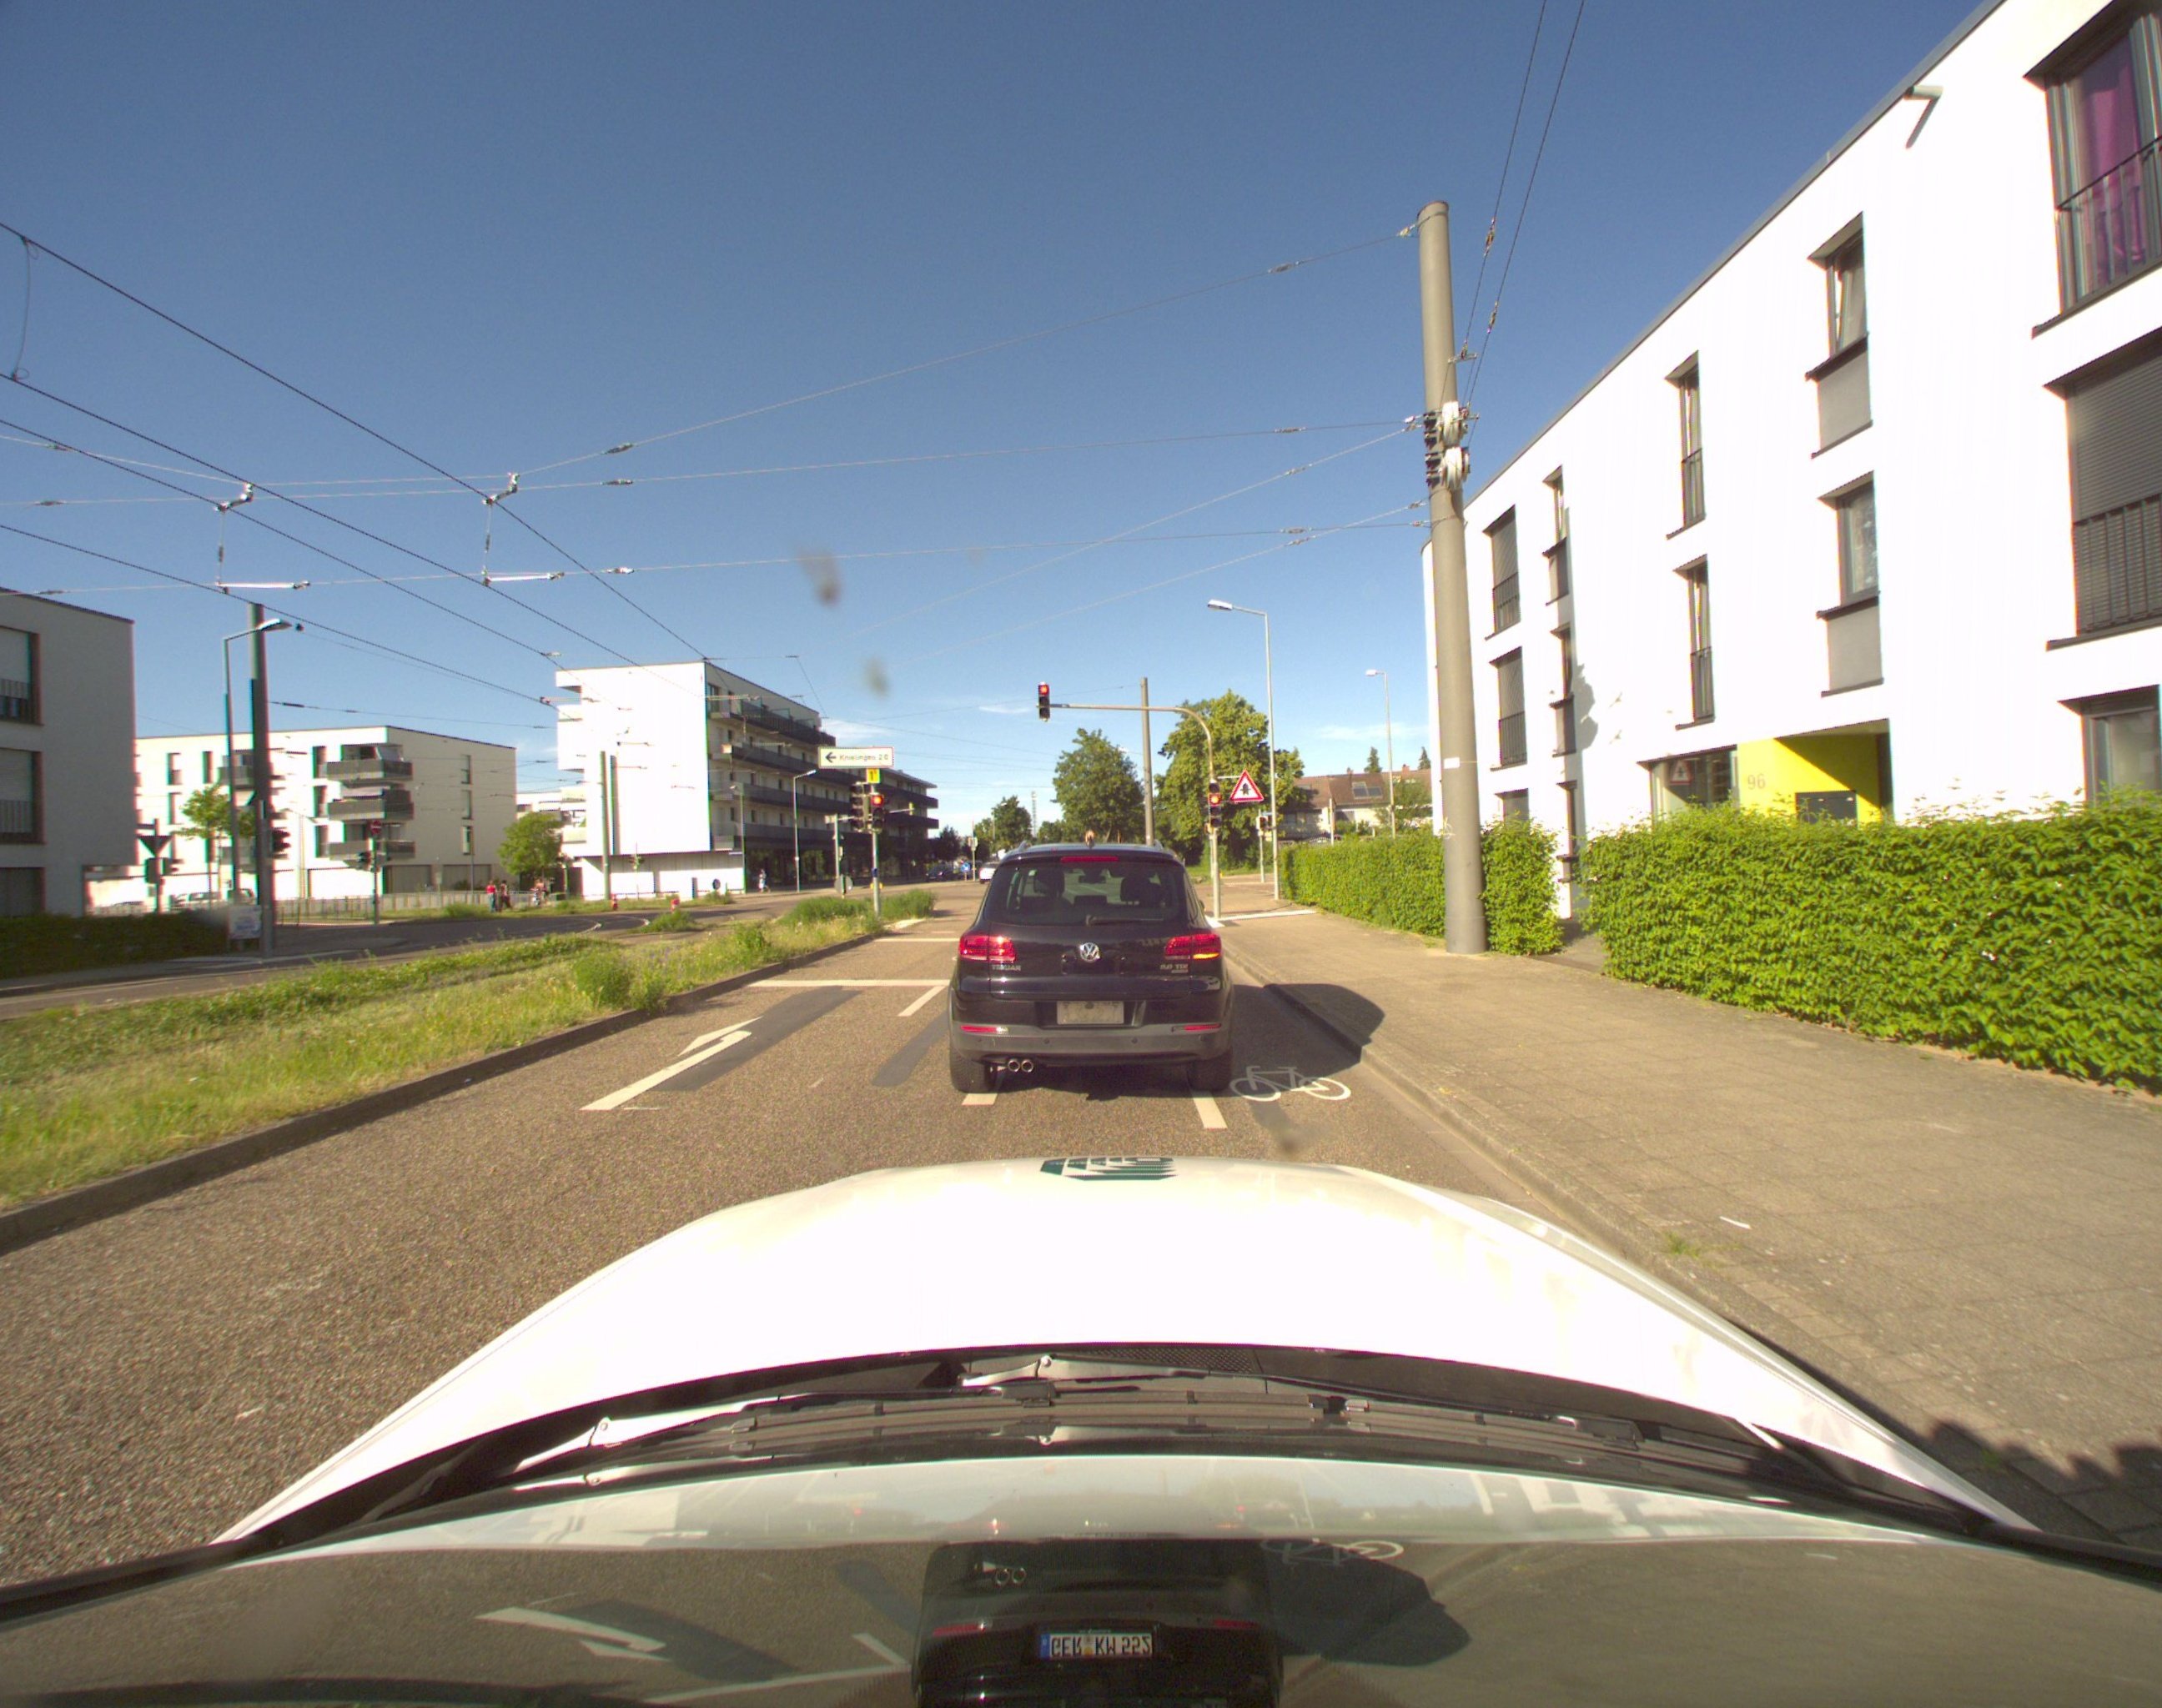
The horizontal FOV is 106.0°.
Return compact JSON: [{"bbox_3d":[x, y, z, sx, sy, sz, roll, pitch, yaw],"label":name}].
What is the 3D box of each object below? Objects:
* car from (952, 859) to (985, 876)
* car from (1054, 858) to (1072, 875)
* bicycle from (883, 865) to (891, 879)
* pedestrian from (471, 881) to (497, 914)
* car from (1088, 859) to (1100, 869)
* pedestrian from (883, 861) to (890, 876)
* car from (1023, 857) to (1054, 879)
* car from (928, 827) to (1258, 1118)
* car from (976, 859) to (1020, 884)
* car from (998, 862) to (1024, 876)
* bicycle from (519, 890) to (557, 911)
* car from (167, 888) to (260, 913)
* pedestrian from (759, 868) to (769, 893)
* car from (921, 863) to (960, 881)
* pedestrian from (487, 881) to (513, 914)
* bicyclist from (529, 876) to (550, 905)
[{"bbox_3d":[-11.020,1.294,80.308,1.981,1.574,4.350,-1,-1,9],"label":"car"},{"bbox_3d":[-2.102,1.426,94.303,1.988,1.836,3.998,0,-1,-1],"label":"car"},{"bbox_3d":[-19.954,1.849,83.659,0.630,1.332,1.907,0,-1,-8],"label":"bicycle"},{"bbox_3d":[-29.787,2.182,40.663,0.770,1.605,0.741,0,-1,-5],"label":"pedestrian"},{"bbox_3d":[2.180,1.725,136.446,1.987,1.684,4.000,0,-1,0],"label":"car"},{"bbox_3d":[-19.963,1.493,83.700,0.642,1.509,0.594,0,-1,-8],"label":"pedestrian"},{"bbox_3d":[-3.576,1.145,69.283,1.853,1.720,3.695,-2,0,8],"label":"car"},{"bbox_3d":[0.128,0.688,6.615,1.862,1.637,4.001,0,-1,2],"label":"car"},{"bbox_3d":[-5.457,1.117,54.147,1.852,1.485,4.121,-3,0,9],"label":"car"},{"bbox_3d":[-8.137,1.782,94.980,1.981,1.574,4.350,-1,-1,9],"label":"car"},{"bbox_3d":[-30.662,2.614,46.003,0.816,1.124,1.863,0,-1,4],"label":"bicycle"},{"bbox_3d":[-58.771,3.151,55.225,4.305,1.574,2.002,0,-1,4],"label":"car"},{"bbox_3d":[-22.784,1.893,58.577,0.542,1.744,0.517,0,-1,-4],"label":"pedestrian"},{"bbox_3d":[-12.356,1.575,71.885,1.980,1.574,4.353,-1,-1,11],"label":"car"},{"bbox_3d":[-29.009,2.176,40.653,0.770,1.605,0.741,0,-1,-5],"label":"pedestrian"},{"bbox_3d":[-30.658,2.082,46.105,0.779,1.614,0.641,0,-1,3],"label":"bicyclist"}]
